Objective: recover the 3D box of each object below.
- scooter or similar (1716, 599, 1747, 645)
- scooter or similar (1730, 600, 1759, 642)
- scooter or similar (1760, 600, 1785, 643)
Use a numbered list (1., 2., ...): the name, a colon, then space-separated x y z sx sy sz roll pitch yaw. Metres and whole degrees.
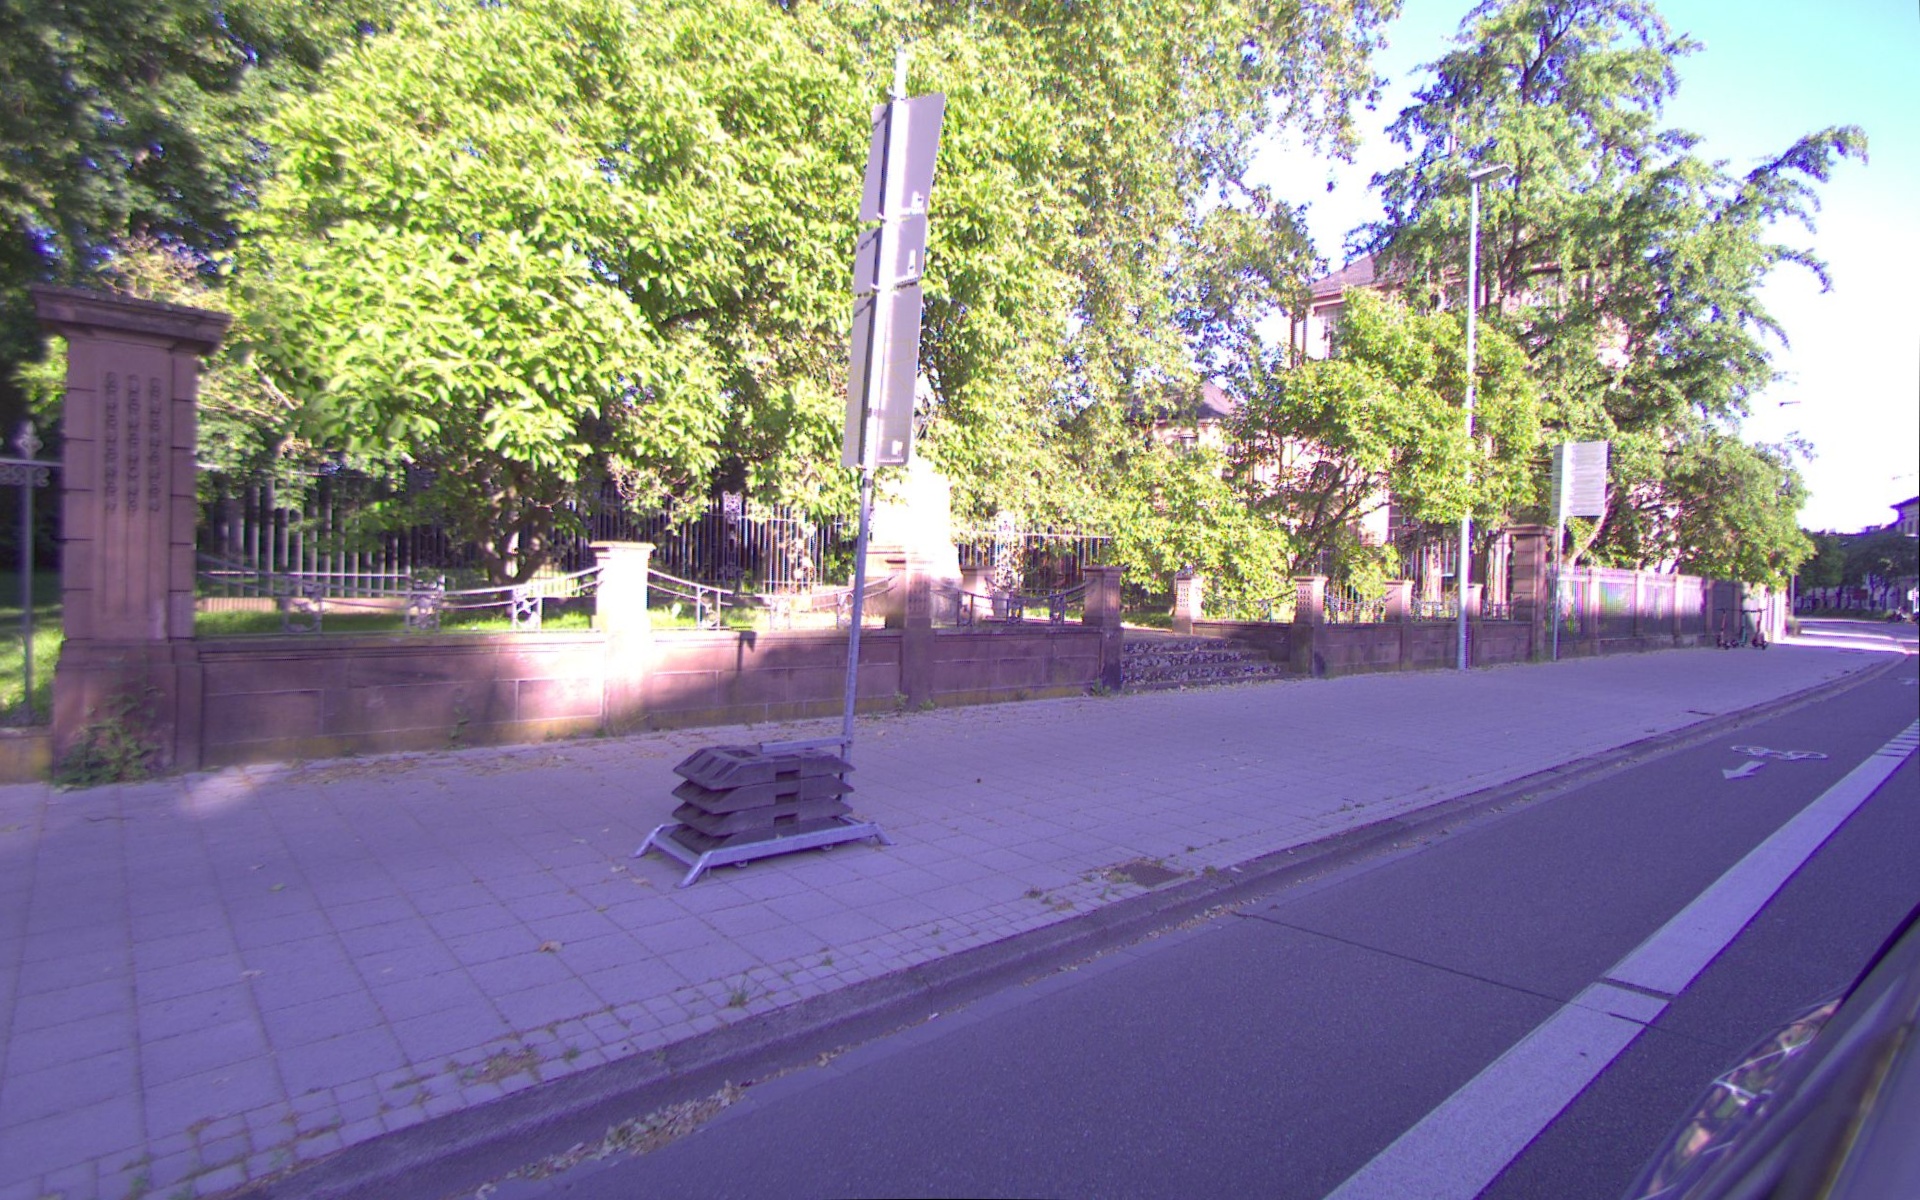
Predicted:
1. scooter or similar: 22.265 0.610 29.215 0.572 1.269 1.470 2 2 33
2. scooter or similar: 23.613 0.626 30.440 0.574 1.199 1.465 3 2 41
3. scooter or similar: 24.712 0.638 30.789 0.514 1.255 1.502 2 2 37
